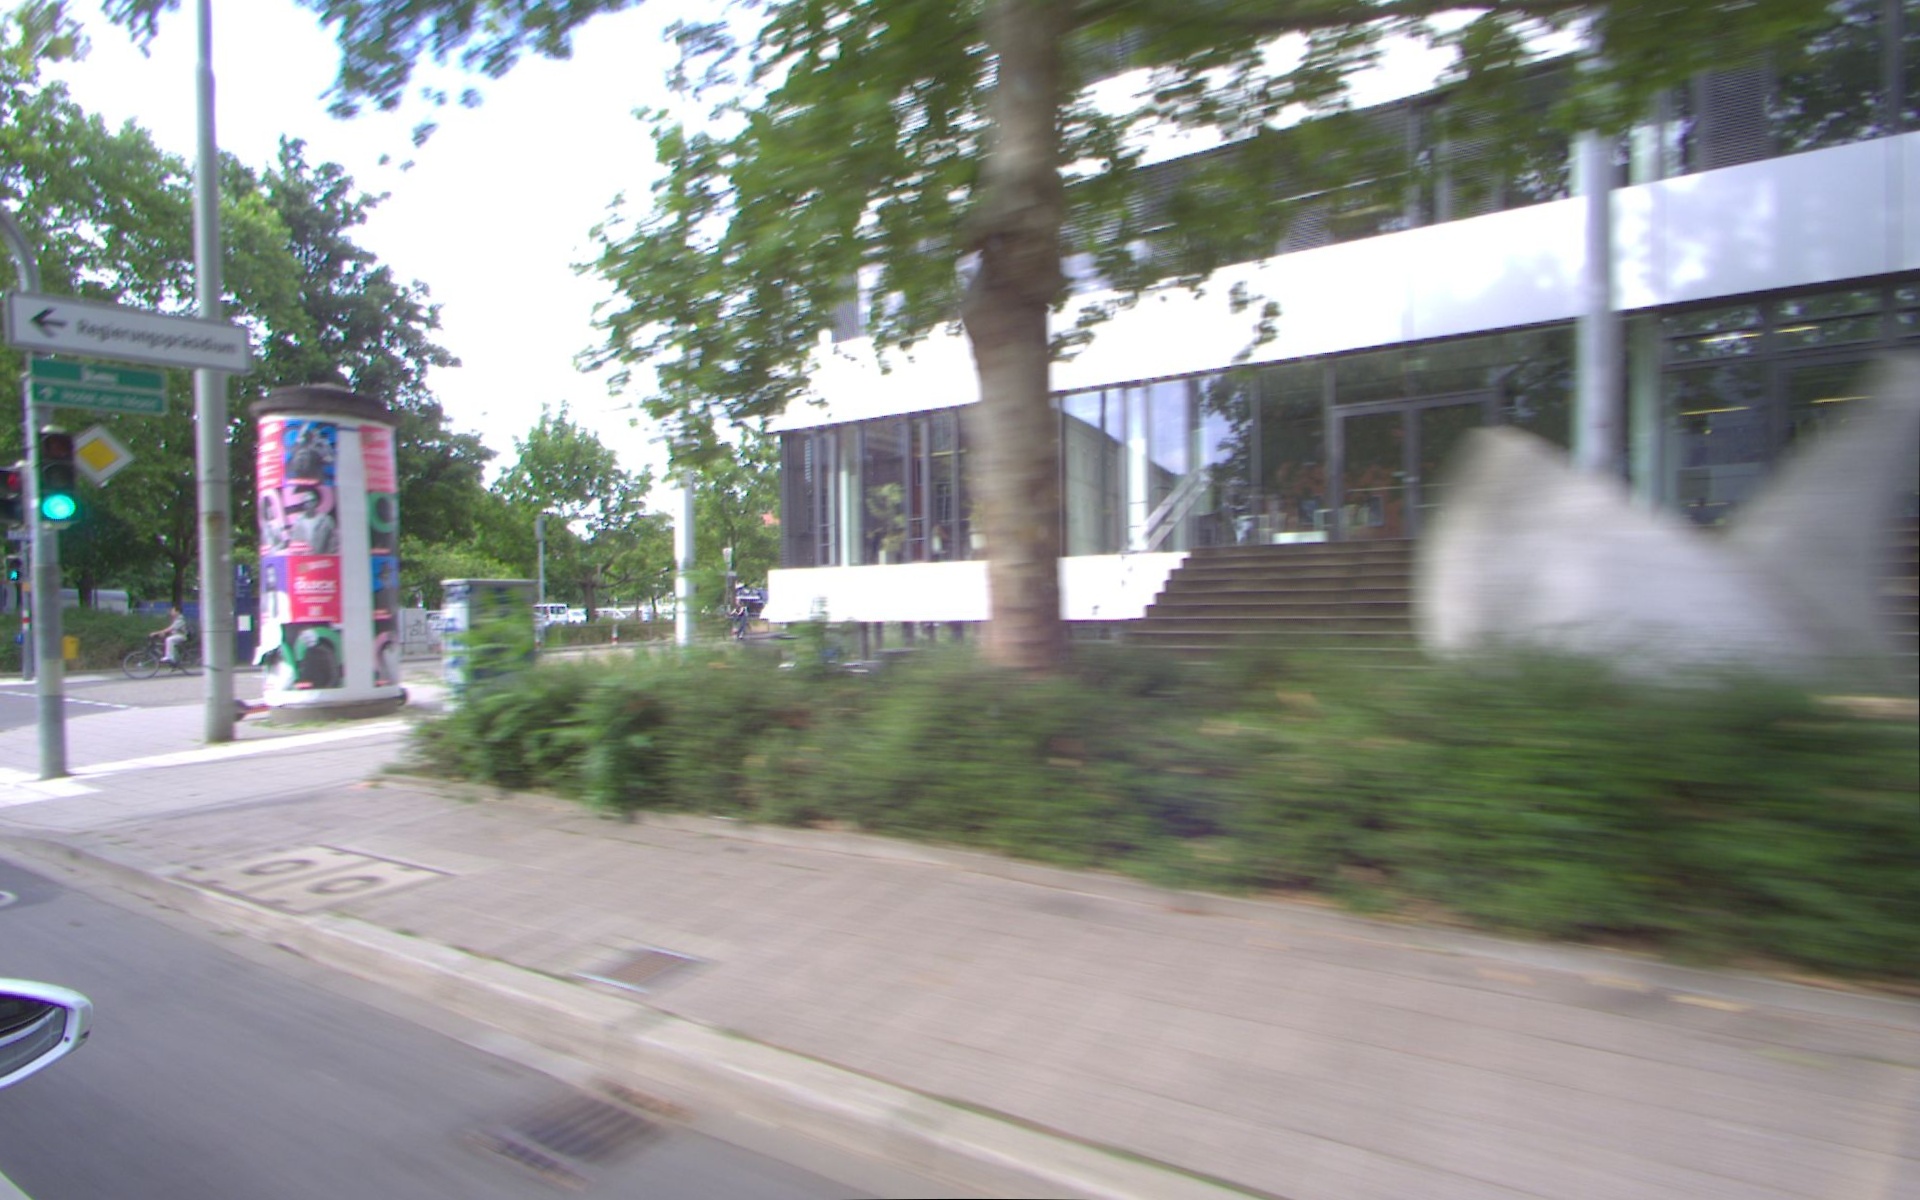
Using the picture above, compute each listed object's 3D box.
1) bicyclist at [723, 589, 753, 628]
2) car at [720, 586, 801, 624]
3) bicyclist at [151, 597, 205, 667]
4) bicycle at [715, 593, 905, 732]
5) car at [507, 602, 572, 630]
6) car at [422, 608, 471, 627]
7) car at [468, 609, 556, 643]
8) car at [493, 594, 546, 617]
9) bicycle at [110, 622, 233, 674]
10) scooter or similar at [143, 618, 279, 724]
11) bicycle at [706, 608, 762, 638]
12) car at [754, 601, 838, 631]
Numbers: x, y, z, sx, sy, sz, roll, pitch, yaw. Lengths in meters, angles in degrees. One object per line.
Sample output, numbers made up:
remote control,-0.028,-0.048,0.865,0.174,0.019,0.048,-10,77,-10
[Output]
bicyclist,-9.319,0.376,42.031,0.904,1.597,0.826,-2,-1,37
car,-14.307,0.397,71.709,5.414,2.647,2.433,-1,-2,30
bicyclist,-19.413,0.802,24.849,0.904,1.700,0.826,-2,-1,37
bicycle,-1.405,0.554,9.275,1.701,1.184,0.697,-1,-1,33
car,-31.319,1.232,74.567,4.699,2.039,1.993,-1,-2,28
car,-43.703,1.496,85.205,3.732,1.601,1.992,-1,-2,30
car,-24.486,1.435,54.744,4.701,1.817,1.992,-1,-2,30
car,-40.334,0.498,91.641,4.701,2.039,1.992,-1,-2,30
bicycle,-19.461,1.168,24.767,0.904,1.187,2.236,-2,-1,37
scooter or similar,-9.572,0.878,12.831,0.340,1.226,1.301,0,2,37
bicycle,-9.450,0.954,41.894,0.904,1.187,2.236,-2,-1,37
car,-9.365,0.918,57.044,4.707,1.651,1.989,-1,-2,34
